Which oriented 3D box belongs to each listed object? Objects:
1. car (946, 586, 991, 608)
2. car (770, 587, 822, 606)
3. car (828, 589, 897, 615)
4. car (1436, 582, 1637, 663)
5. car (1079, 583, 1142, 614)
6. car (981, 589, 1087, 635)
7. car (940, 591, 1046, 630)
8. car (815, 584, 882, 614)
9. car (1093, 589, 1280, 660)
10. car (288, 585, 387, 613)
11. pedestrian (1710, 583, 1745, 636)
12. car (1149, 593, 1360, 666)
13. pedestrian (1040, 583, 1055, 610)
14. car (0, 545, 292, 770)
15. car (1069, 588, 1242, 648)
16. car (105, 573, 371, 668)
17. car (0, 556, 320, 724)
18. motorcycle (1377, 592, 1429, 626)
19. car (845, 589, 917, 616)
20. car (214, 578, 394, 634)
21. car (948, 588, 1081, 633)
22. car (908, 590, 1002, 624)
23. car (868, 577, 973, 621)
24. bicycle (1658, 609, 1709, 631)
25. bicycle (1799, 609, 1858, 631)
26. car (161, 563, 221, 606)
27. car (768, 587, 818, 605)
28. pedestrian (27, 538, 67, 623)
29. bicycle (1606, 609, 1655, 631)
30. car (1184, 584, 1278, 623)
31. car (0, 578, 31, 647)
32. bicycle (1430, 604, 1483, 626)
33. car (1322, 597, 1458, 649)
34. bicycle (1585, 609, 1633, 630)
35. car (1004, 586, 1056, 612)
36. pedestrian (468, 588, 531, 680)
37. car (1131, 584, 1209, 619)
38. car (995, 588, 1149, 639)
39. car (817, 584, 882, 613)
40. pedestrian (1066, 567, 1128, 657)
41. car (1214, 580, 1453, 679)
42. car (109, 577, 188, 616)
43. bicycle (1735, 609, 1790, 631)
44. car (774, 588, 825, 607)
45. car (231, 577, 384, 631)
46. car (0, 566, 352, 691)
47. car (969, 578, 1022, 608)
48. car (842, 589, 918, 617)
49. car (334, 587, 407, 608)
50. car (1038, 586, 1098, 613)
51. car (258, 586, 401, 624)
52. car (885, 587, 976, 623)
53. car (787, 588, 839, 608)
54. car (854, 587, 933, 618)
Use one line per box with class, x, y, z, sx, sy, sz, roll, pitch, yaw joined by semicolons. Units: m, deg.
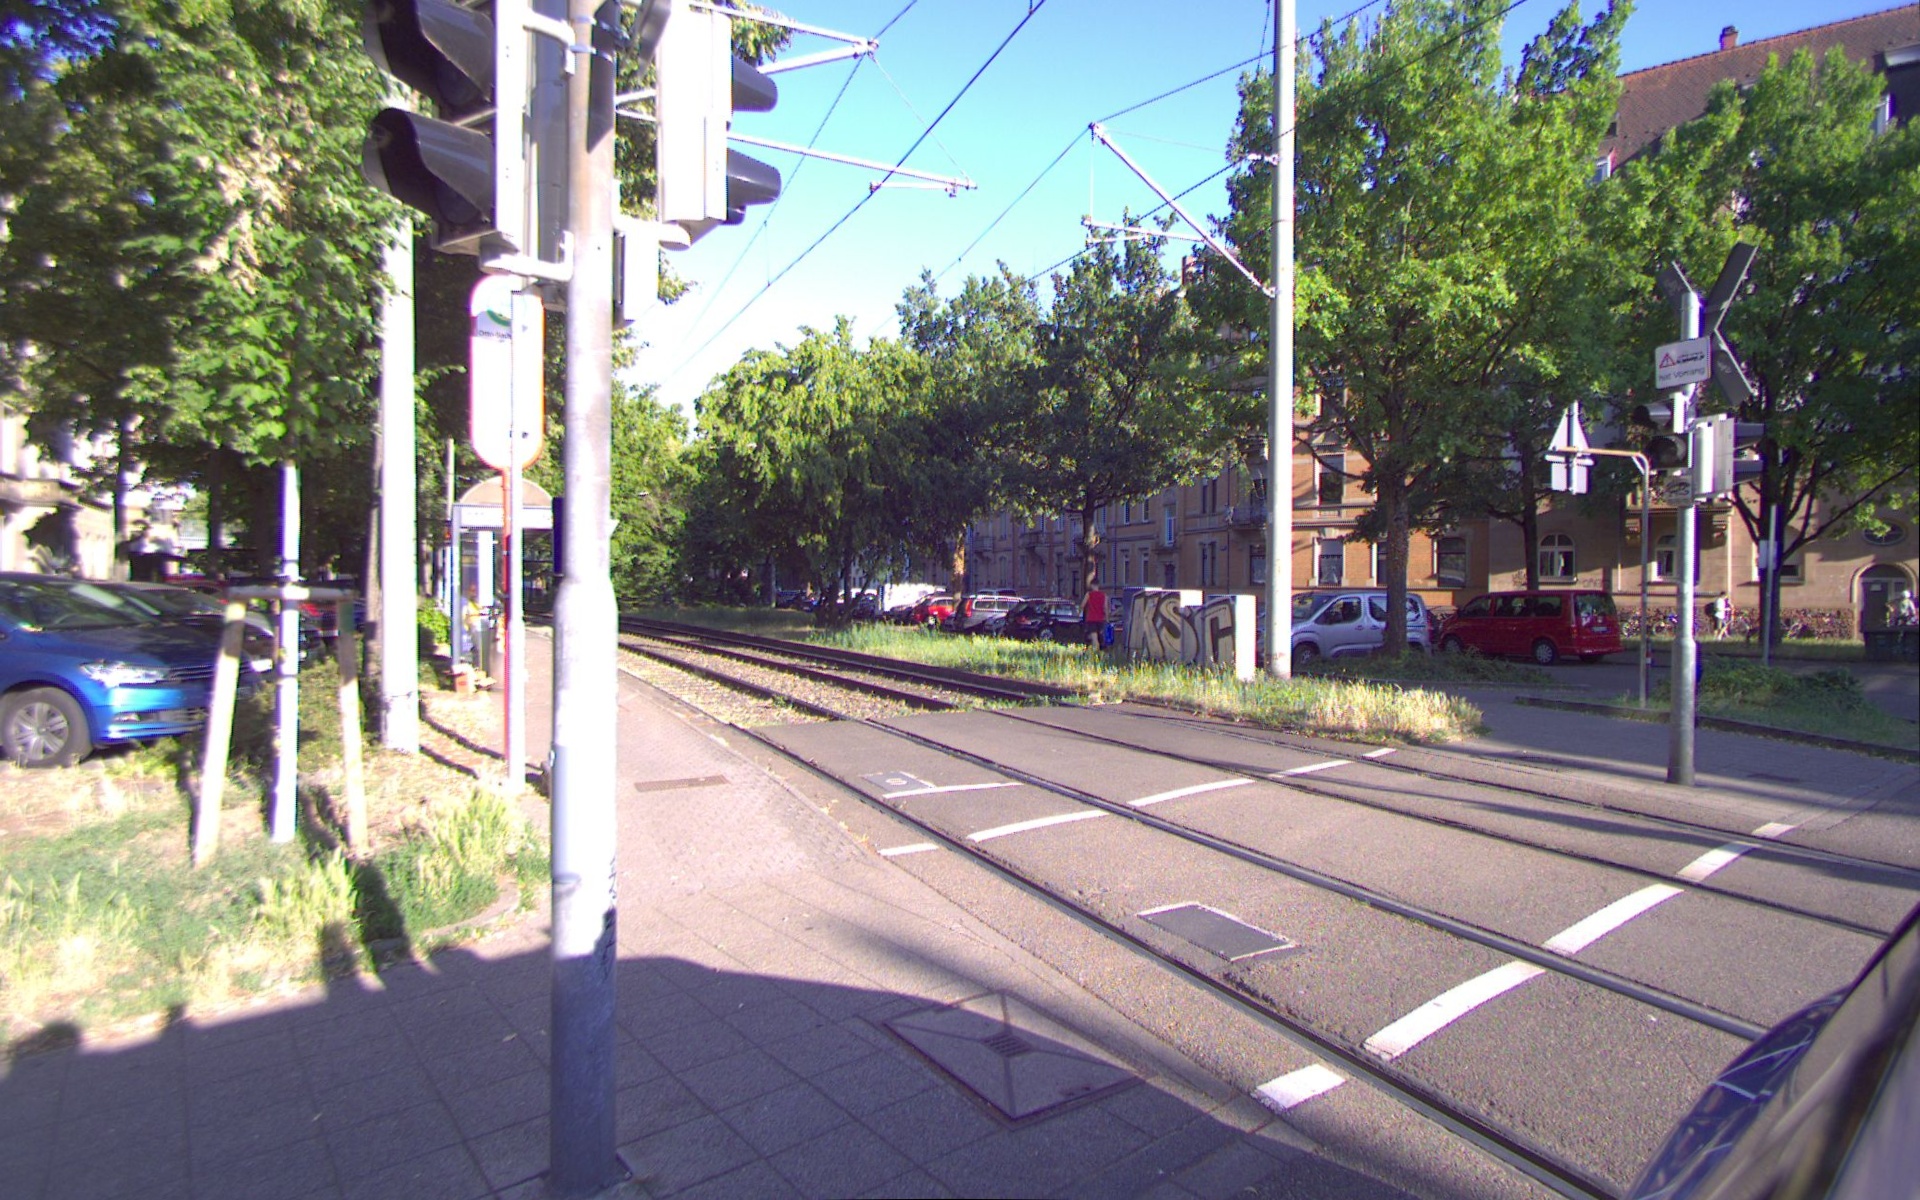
car;0.574;-0.254;72.369;1.843;1.459;4.402;-2;1;-19
car;-13.909;-0.274;85.765;4.046;1.541;1.688;1;0;-18
car;-5.994;0.130;61.927;3.915;1.507;1.688;1;0;-18
car;15.595;0.533;27.705;1.745;1.958;4.782;-2;1;-19
car;7.646;-0.117;51.818;1.654;1.493;3.717;-2;1;-18
car;2.595;0.405;35.640;3.338;1.533;1.722;0;0;-16
car;1.329;0.426;40.832;3.915;1.479;1.688;1;0;-18
car;-7.046;-0.064;63.896;3.915;1.855;1.688;1;0;-18
car;5.902;0.597;26.537;4.356;1.712;1.955;0;1;-16
car;-31.078;-0.036;50.604;3.926;1.295;1.747;1;0;3
pedestrian;25.795;0.307;34.024;0.907;1.739;0.666;0;1;37
car;6.996;0.656;24.134;4.457;1.592;1.955;0;1;-16
pedestrian;5.725;-0.239;66.284;0.661;1.739;0.724;-2;1;-18
car;-8.439;0.451;8.643;4.336;1.708;1.742;-1;0;0
car;5.561;0.493;28.933;4.457;1.592;1.955;0;1;-16
car;-14.697;0.376;20.685;4.482;1.743;1.922;1;0;12
car;-9.970;0.372;11.316;4.469;1.655;1.928;1;0;3
motorcycle;18.692;0.374;42.681;1.887;1.370;0.799;0;0;36
car;-4.647;0.143;59.441;3.915;1.507;1.688;1;0;-18
car;-19.031;0.153;29.457;4.207;1.506;1.806;1;0;6
car;2.058;0.367;38.395;4.616;1.592;2.005;0;1;-16
car;-0.237;0.307;45.647;3.915;1.441;1.688;1;0;-18
car;-1.969;-0.039;50.345;4.757;2.064;2.160;1;0;-18
bicycle;26.356;0.729;36.882;1.501;0.741;0.364;1;1;36
bicycle;29.644;0.694;34.562;1.501;0.741;0.364;-1;-1;36
car;-41.302;-0.835;54.471;1.960;2.200;4.617;1;0;-30
car;-14.867;-0.329;90.294;4.176;1.507;1.688;1;0;-18
pedestrian;-32.172;-0.683;35.670;0.902;2.984;0.701;0;0;-31
bicycle;24.844;0.736;37.532;1.501;0.741;0.364;1;1;36
car;11.092;0.106;41.714;1.744;1.493;4.280;-2;1;-16
car;-23.109;0.287;22.854;1.959;1.587;4.600;1;0;-27
bicycle;20.409;0.611;41.623;1.887;0.858;0.519;0;0;36
car;13.910;0.693;33.023;1.744;1.451;4.280;-2;1;-16
bicycle;24.523;0.725;38.245;1.501;0.741;0.364;1;1;36
car;4.213;-0.066;61.566;1.732;1.456;3.896;-2;1;-19
pedestrian;-6.792;0.476;14.920;0.808;1.288;0.878;0;0;-26
car;9.572;0.054;46.360;1.654;1.493;3.890;-2;1;-20
car;3.660;0.421;33.327;4.616;1.592;2.005;0;1;-16
car;-7.265;-0.111;66.385;3.915;1.855;1.688;1;0;-18
pedestrian;3.047;0.264;22.575;0.886;1.943;1.152;2;0;-18
car;7.911;0.572;21.560;4.457;1.938;1.955;0;1;-16
car;-35.242;-0.176;44.058;1.960;1.587;4.617;1;0;-30
bicycle;28.299;0.706;35.704;1.501;0.741;0.364;1;1;36
car;-13.251;-0.213;83.365;3.915;1.507;1.688;1;0;-18
car;-22.349;0.111;34.741;4.207;1.716;1.806;1;0;6
car;-11.054;0.339;13.753;4.469;1.506;1.928;1;0;3
car;2.287;-0.482;66.873;1.873;1.906;4.735;-2;1;-19
car;-4.487;0.156;56.727;3.915;1.507;1.688;1;0;-18
car;-39.671;-0.157;68.153;3.926;1.295;1.747;1;0;3
car;6.003;-0.054;56.819;1.732;1.401;4.299;-2;1;-18
car;-23.177;0.173;37.278;4.204;1.295;1.808;1;0;3
car;-1.392;0.222;47.693;3.916;1.600;1.769;1;0;-21
car;-11.825;-0.171;81.299;3.915;1.507;1.688;1;0;-18
car;-3.569;0.122;54.399;3.915;1.573;1.688;1;0;-18
